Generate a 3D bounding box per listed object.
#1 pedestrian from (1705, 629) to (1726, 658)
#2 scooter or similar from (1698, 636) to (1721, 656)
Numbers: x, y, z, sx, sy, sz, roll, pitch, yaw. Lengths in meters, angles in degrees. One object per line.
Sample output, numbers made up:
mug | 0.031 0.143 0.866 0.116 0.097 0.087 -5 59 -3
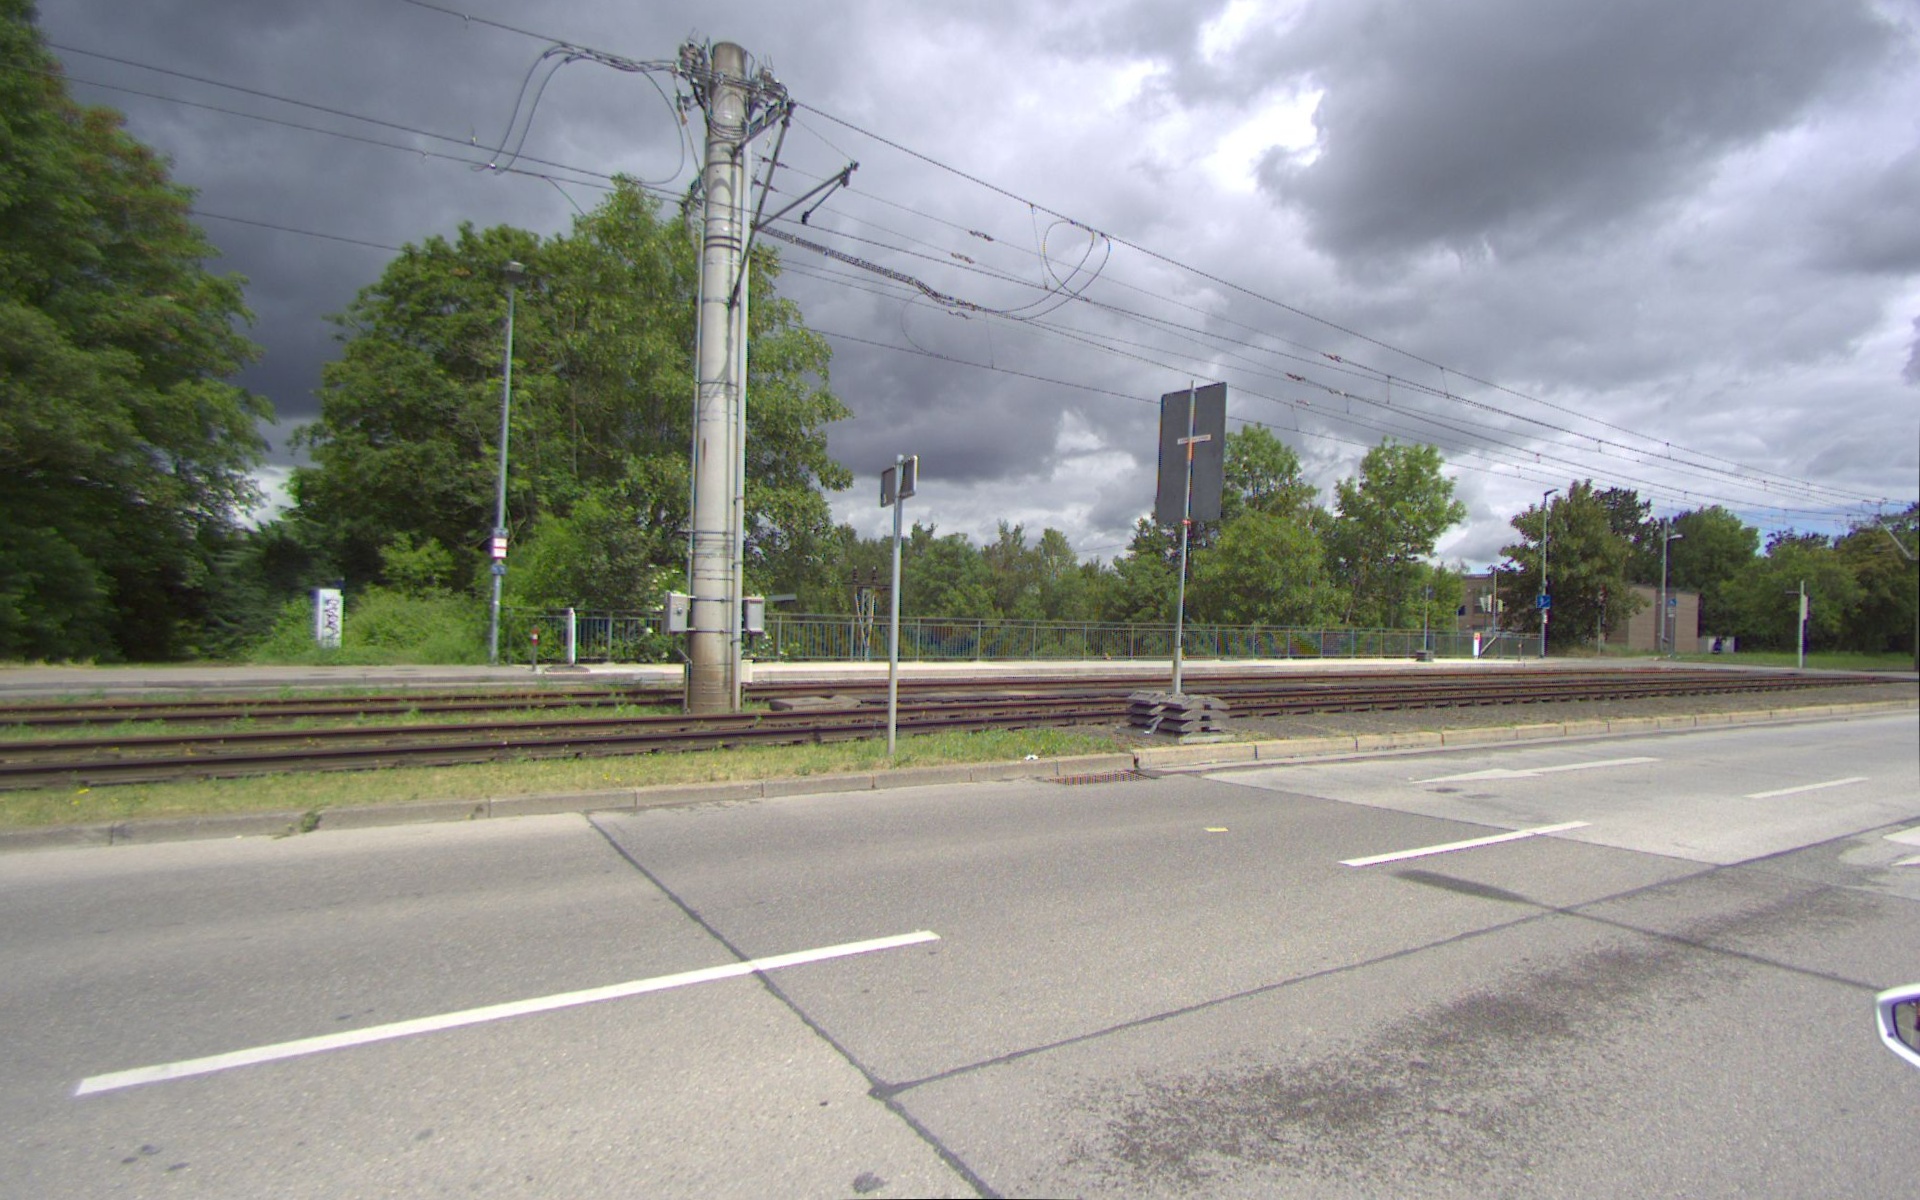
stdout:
pedestrian | 50.023 2.892 66.532 0.799 1.835 0.797 2 1 -31
scooter or similar | 49.305 3.013 66.051 0.962 1.200 0.885 2 1 -33
